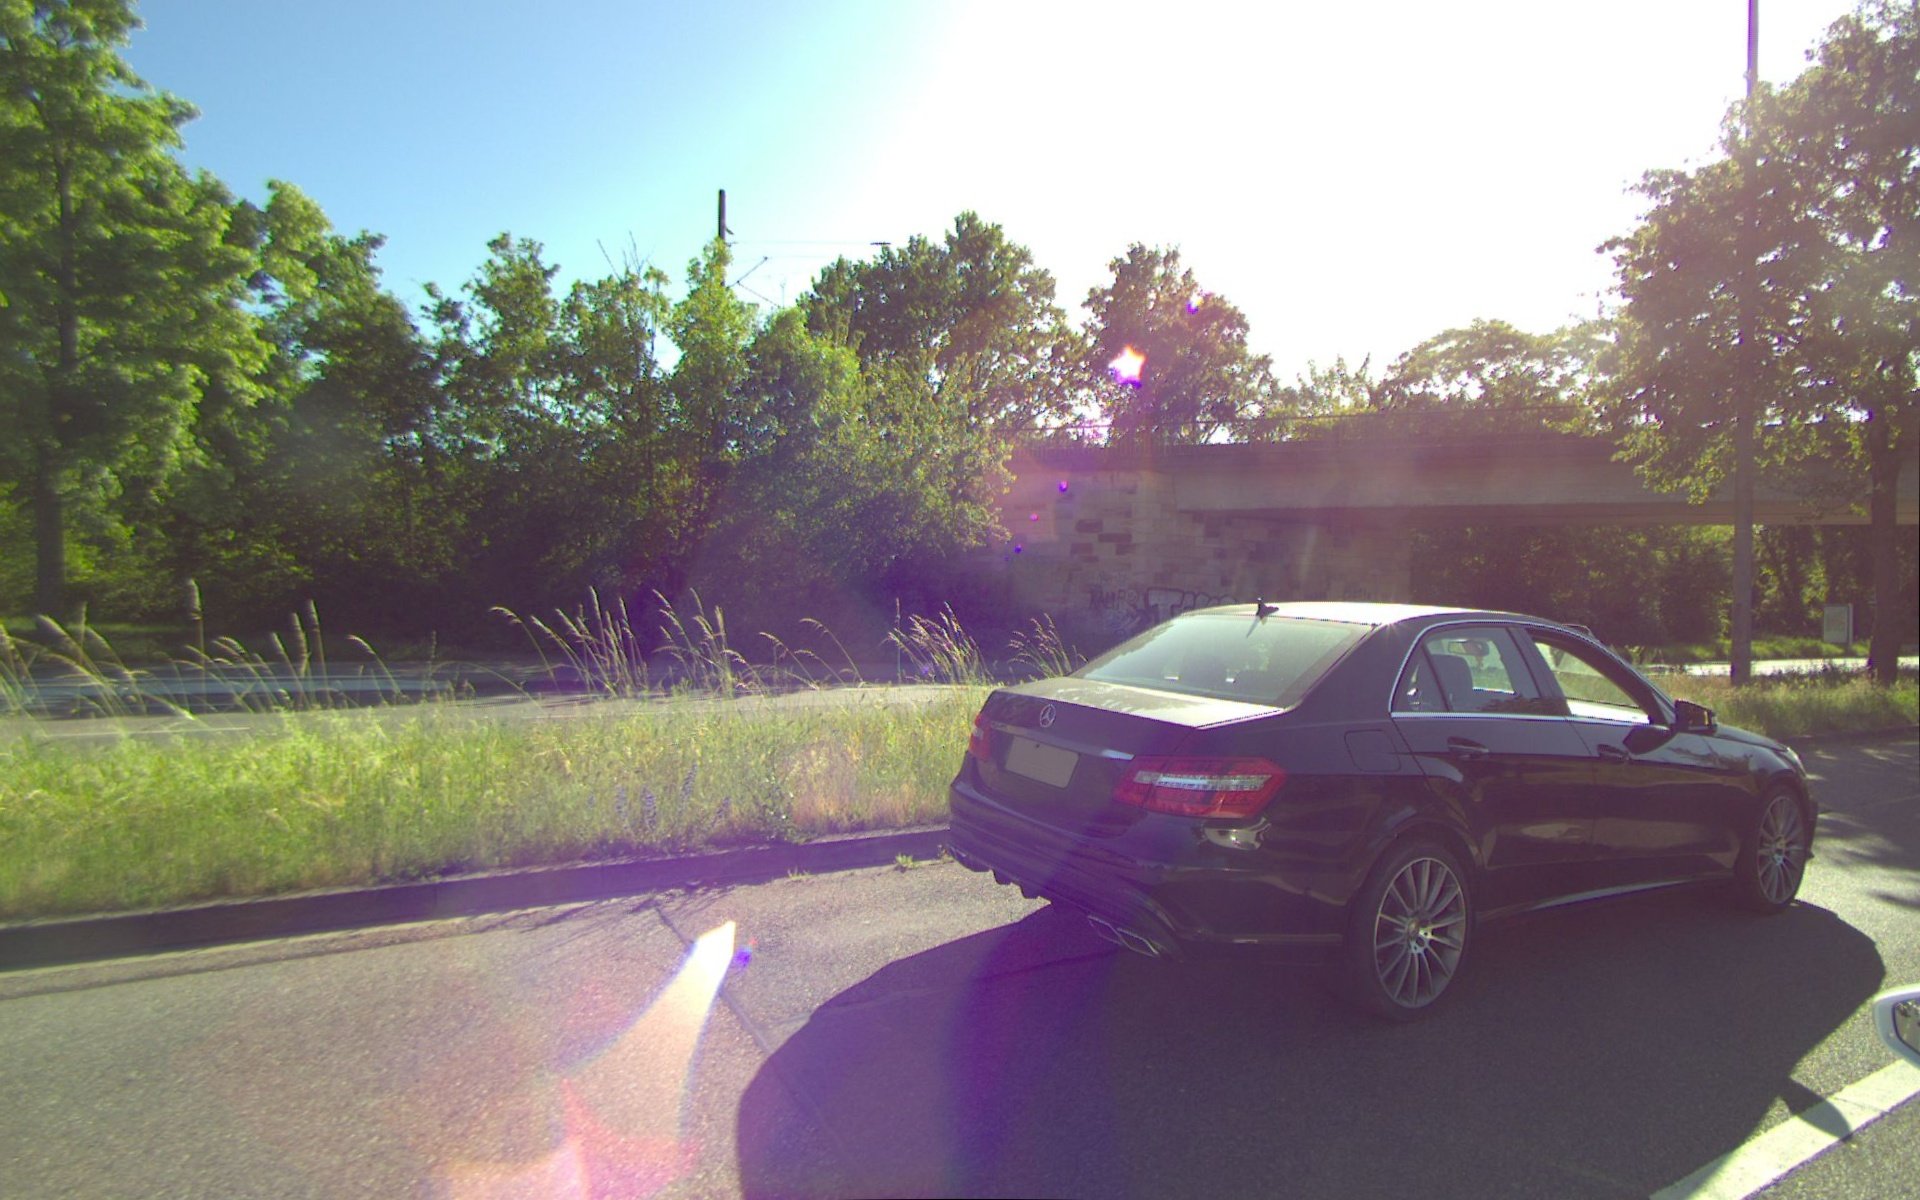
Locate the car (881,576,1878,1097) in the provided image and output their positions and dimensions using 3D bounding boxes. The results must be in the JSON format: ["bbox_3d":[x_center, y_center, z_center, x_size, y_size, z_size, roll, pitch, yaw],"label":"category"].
[{"bbox_3d":[2.233,0.724,4.946,4.859,1.502,1.950,1,0,-29],"label":"car"}]

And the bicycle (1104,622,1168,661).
[{"bbox_3d":[4.985,1.185,28.431,1.694,1.044,0.680,2,1,-30],"label":"bicycle"}]

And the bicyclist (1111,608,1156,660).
[{"bbox_3d":[4.905,0.957,28.383,1.014,1.420,0.677,2,1,-30],"label":"bicyclist"}]

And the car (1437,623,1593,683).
[{"bbox_3d":[14.636,1.367,26.461,4.042,1.461,1.808,2,-1,-30],"label":"car"}]
